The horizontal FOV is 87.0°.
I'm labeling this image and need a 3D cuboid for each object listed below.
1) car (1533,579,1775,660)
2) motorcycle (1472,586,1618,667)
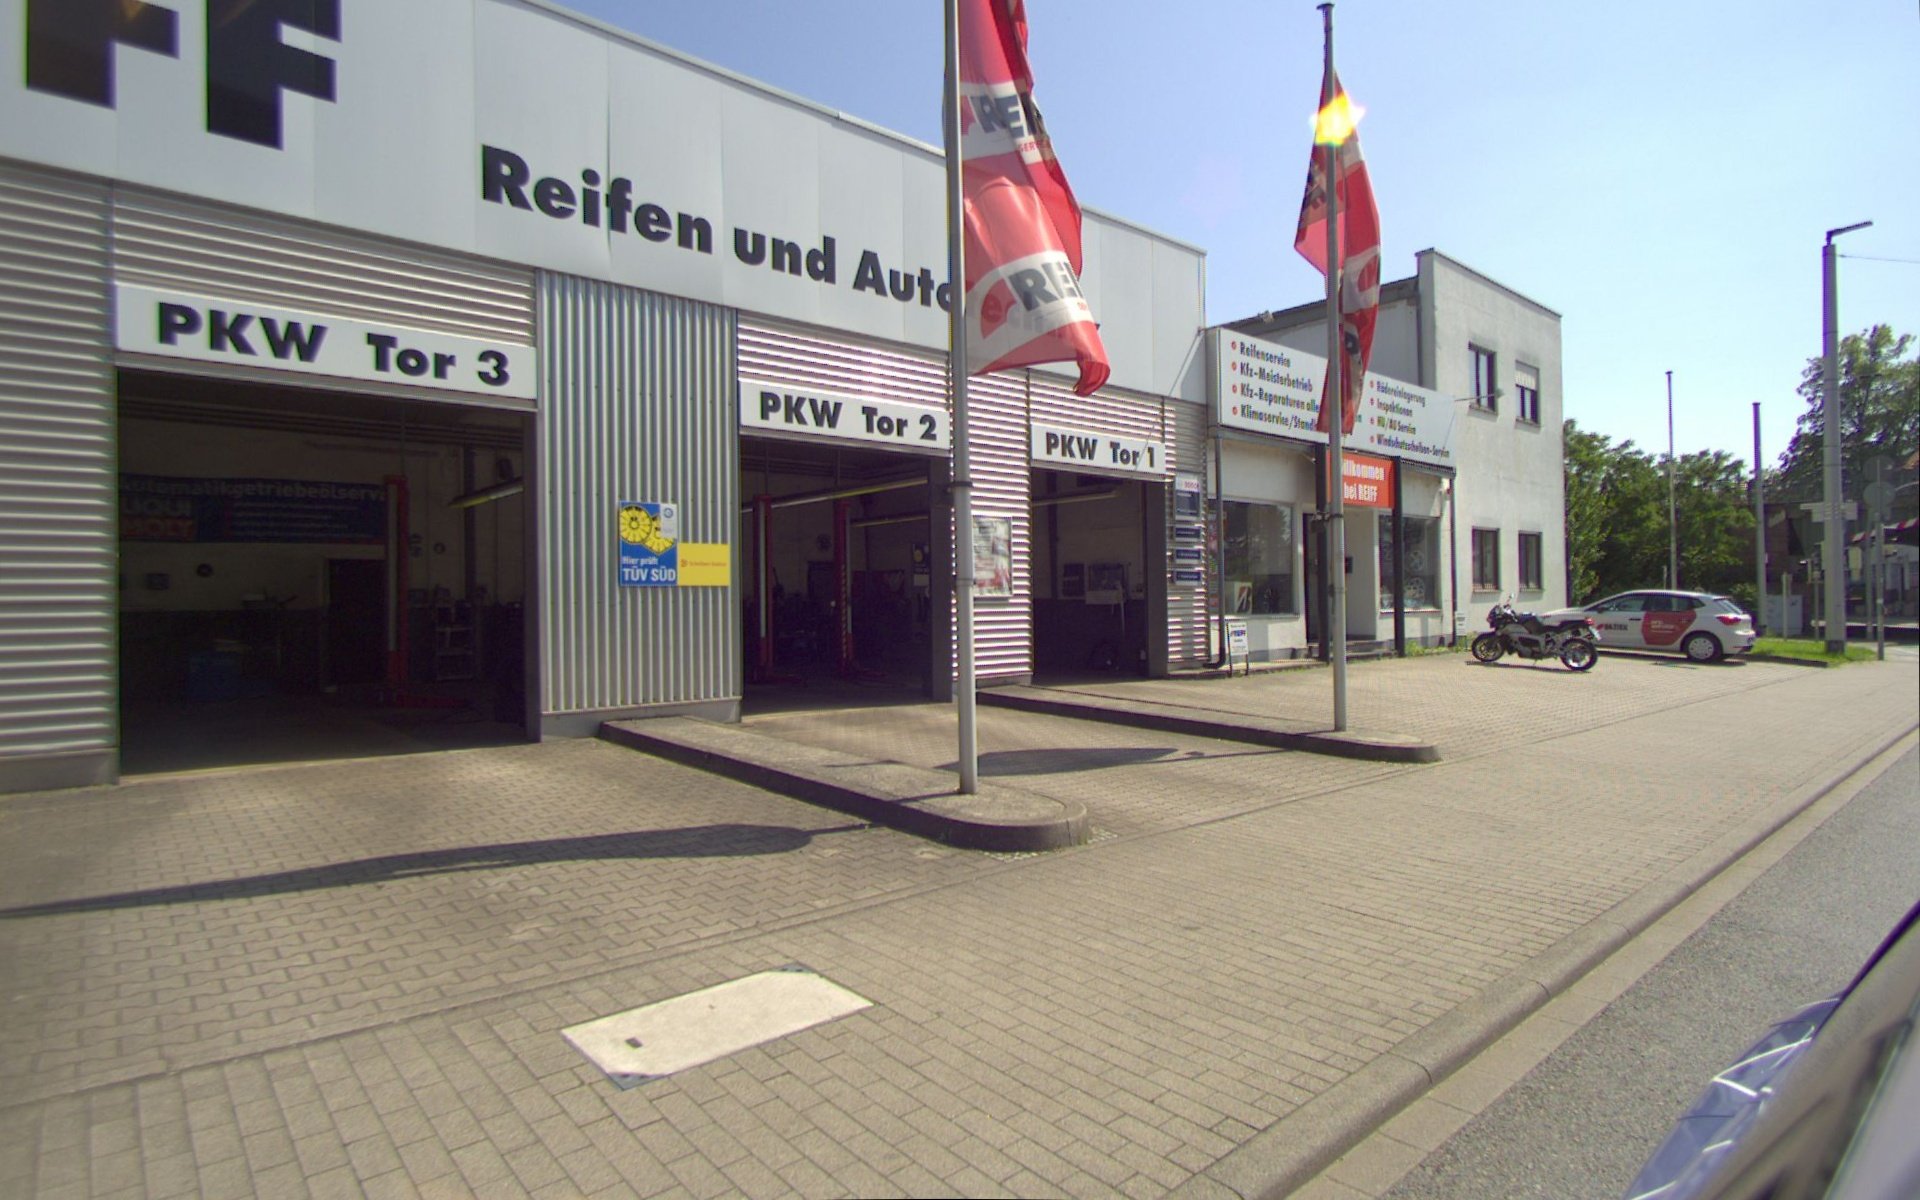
[{"bbox_3d":[15.005,0.338,22.038,1.858,1.480,3.994,-1,3,-42],"label":"car"},{"bbox_3d":[10.706,0.449,18.593,0.719,1.324,2.187,-1,3,-42],"label":"motorcycle"}]
